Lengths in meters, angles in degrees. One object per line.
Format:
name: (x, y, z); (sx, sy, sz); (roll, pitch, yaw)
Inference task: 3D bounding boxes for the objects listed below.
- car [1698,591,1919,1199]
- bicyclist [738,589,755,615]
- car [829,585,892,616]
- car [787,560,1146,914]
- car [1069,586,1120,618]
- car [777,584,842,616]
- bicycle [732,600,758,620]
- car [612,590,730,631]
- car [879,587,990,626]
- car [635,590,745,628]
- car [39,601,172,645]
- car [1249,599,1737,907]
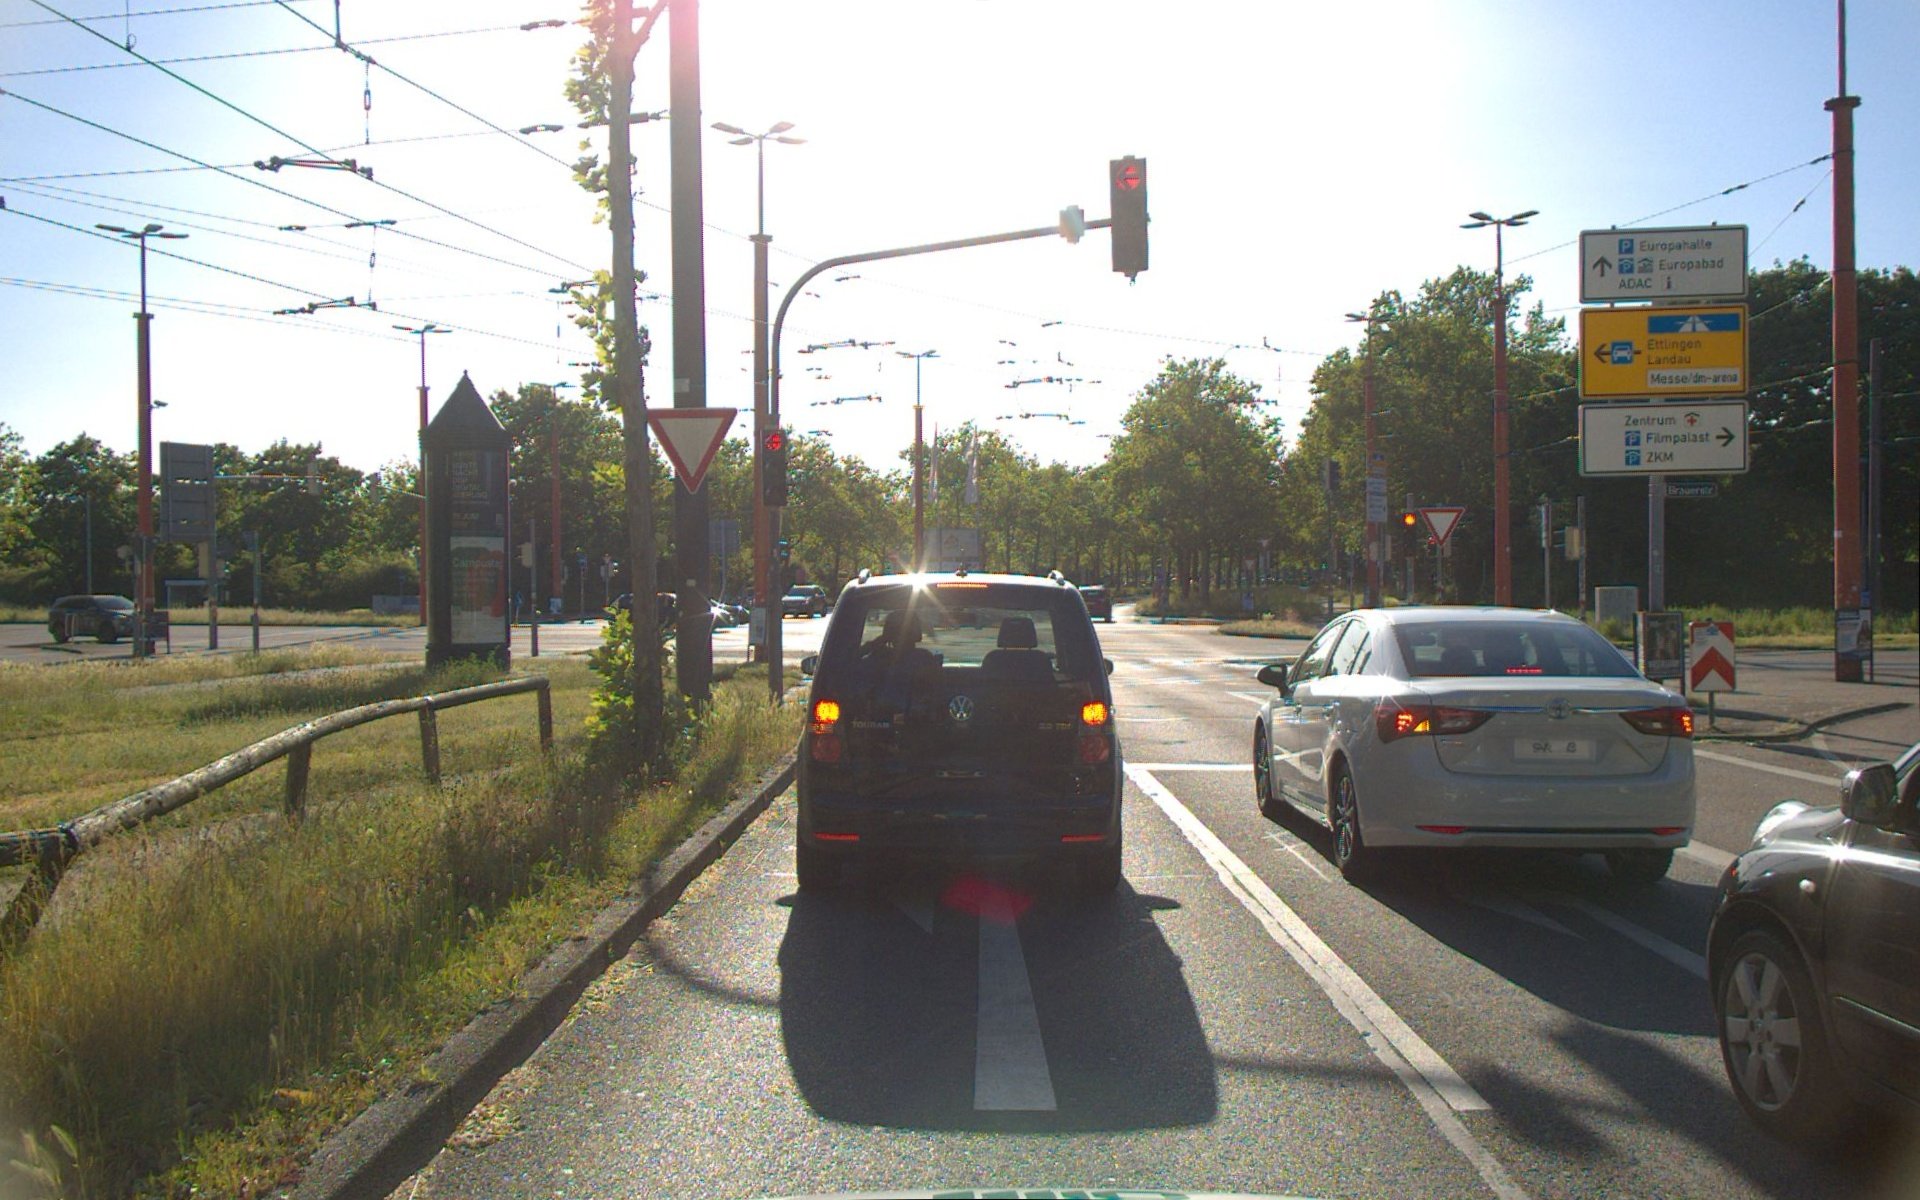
car: (3.125, 0.743, 3.495); (1.525, 1.532, 3.515); (0, 0, -1)
bicyclist: (-12.195, 0.092, 94.426); (0.678, 1.483, 0.875); (0, 0, 17)
car: (-5.469, 0.024, 91.675); (1.951, 1.714, 4.831); (0, 0, 17)
car: (0.005, 0.643, 9.850); (1.702, 1.670, 3.999); (0, 0, -1)
car: (6.512, 0.060, 79.984); (1.867, 1.489, 4.378); (0, 1, 13)
car: (-8.434, -0.004, 93.087); (1.951, 1.714, 4.831); (0, 0, 17)
bicycle: (-12.226, 0.567, 94.206); (0.719, 1.109, 1.962); (0, 0, 18)
car: (-10.700, 0.374, 61.455); (4.143, 1.489, 1.913); (0, 0, -4)
car: (-0.988, 0.235, 64.831); (4.007, 1.489, 1.892); (0, 0, -34)
car: (-10.916, 0.363, 66.957); (3.958, 1.489, 1.915); (0, 0, 19)
car: (-31.723, 0.824, 61.387); (4.539, 1.570, 1.999); (0, 0, 24)
car: (2.946, 0.740, 10.094); (1.679, 1.480, 4.144); (0, 0, 0)
